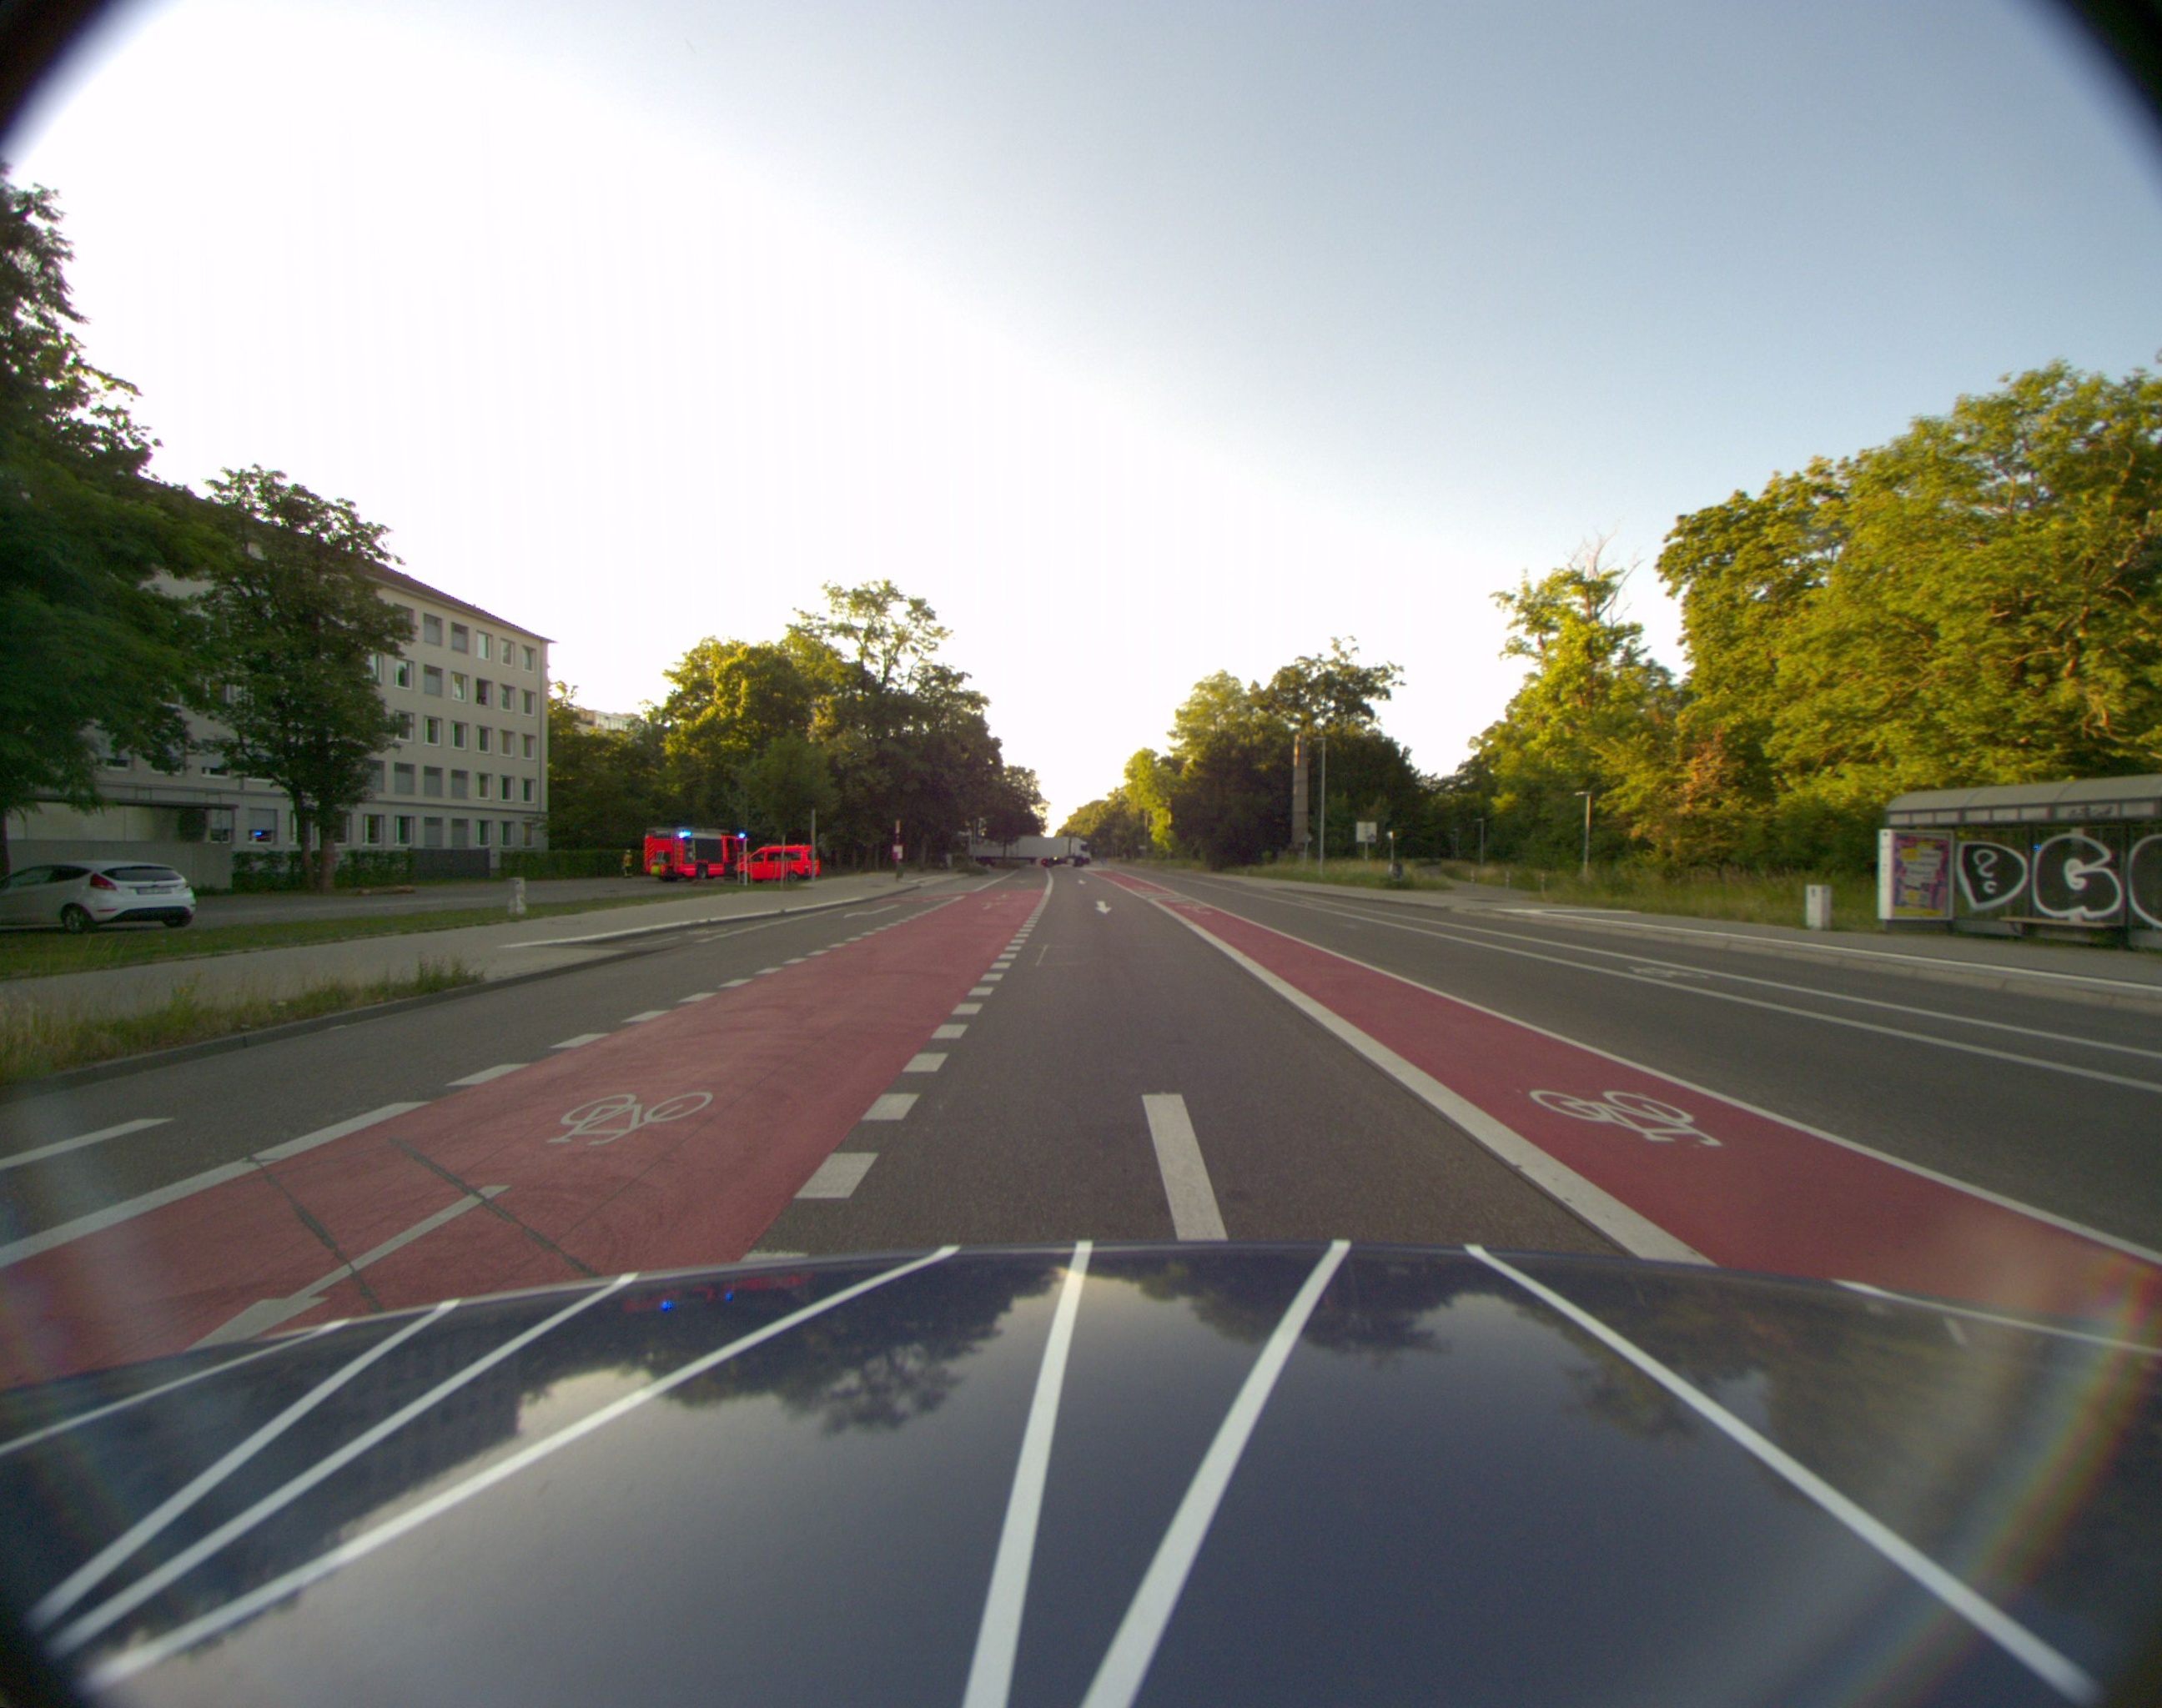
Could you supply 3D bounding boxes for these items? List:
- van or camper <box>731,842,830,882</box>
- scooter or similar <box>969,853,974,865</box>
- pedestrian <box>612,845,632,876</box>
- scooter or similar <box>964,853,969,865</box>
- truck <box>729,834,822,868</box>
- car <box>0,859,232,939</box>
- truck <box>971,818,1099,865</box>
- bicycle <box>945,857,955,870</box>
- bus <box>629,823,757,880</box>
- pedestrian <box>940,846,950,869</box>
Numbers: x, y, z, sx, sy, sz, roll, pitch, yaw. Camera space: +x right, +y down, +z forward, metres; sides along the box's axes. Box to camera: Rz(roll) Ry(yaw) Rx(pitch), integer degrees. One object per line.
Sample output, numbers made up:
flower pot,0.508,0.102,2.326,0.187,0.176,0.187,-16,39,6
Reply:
van or camper,-17.646,0.446,44.776,4.823,2.232,2.295,-1,1,5
scooter or similar,-11.959,0.576,83.160,0.483,1.274,1.139,2,0,-8
pedestrian,-29.844,0.415,49.414,0.772,2.002,0.826,0,1,9
scooter or similar,-12.215,0.575,81.272,0.483,1.274,1.230,2,0,-8
truck,-29.826,-0.271,74.159,8.645,3.192,2.765,0,0,17
car,-20.920,0.903,16.030,3.996,1.528,1.912,-1,1,4
truck,-5.686,-1.511,94.588,15.059,5.542,5.163,0,1,11
bicycle,-11.499,0.848,66.663,0.833,1.091,1.966,0,1,-12
bus,-23.737,-0.164,47.125,2.993,3.177,7.968,-1,1,8
pedestrian,-11.948,0.316,66.718,0.726,2.002,0.694,0,1,-21
